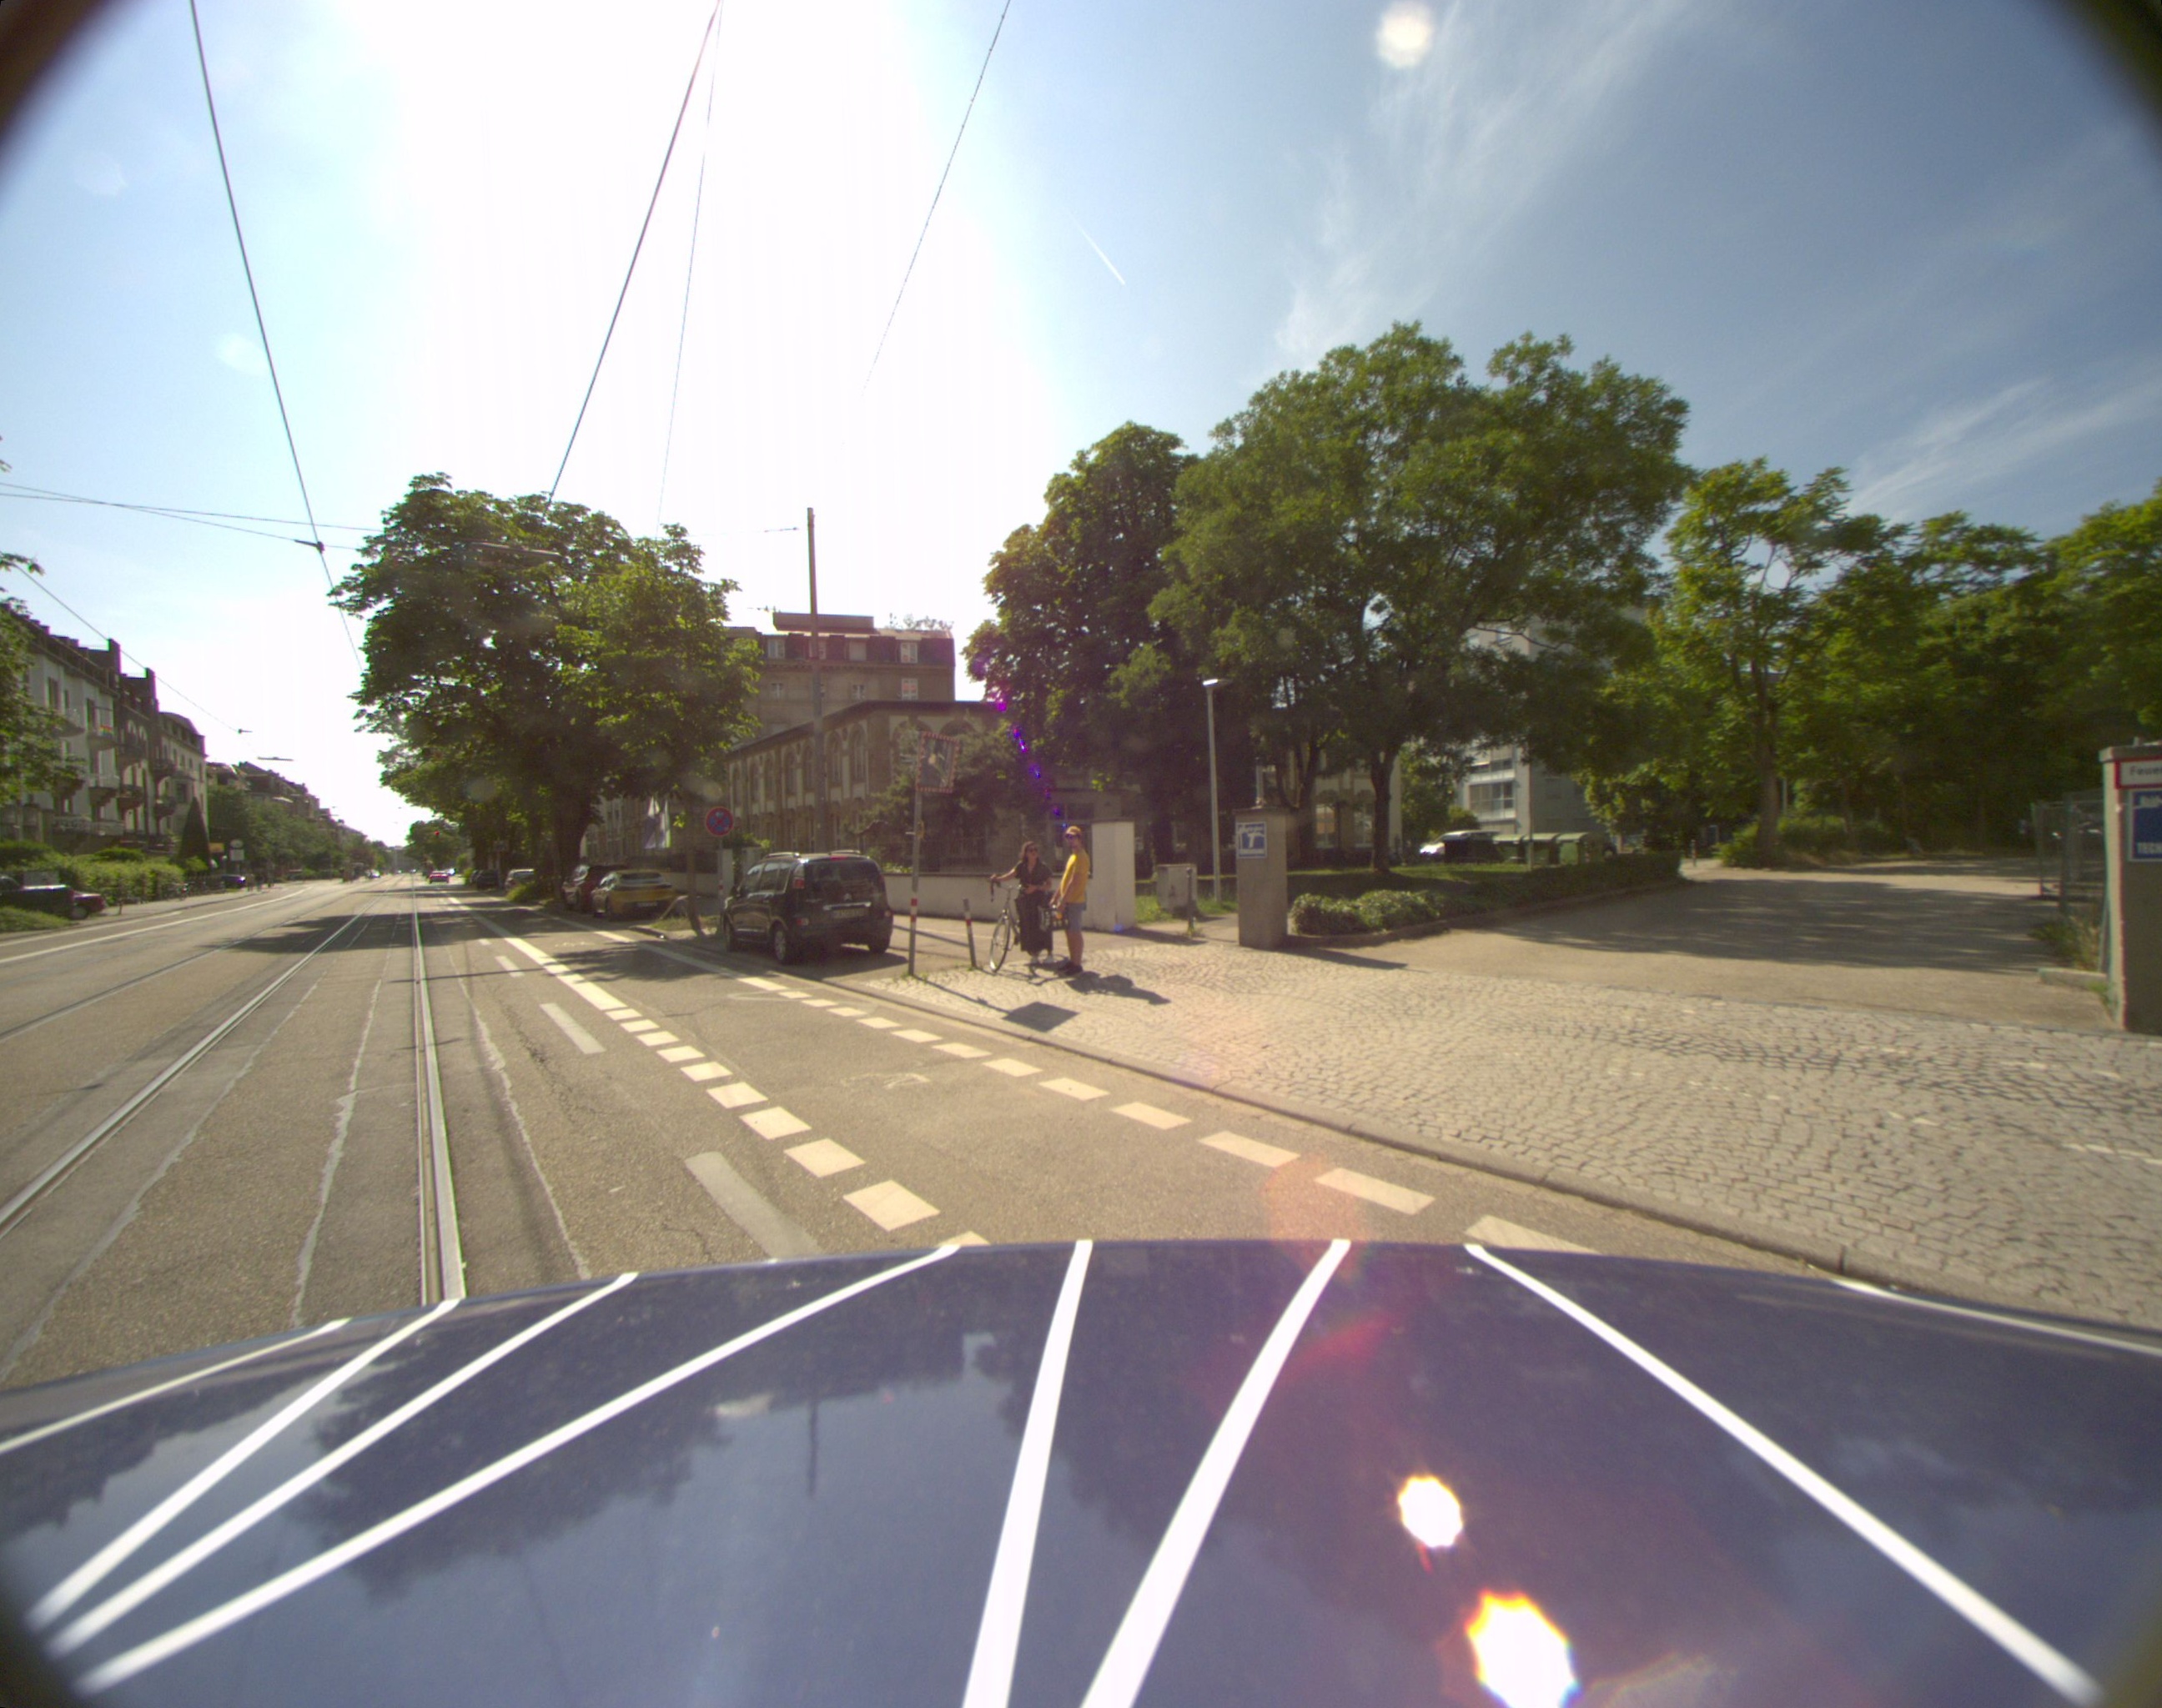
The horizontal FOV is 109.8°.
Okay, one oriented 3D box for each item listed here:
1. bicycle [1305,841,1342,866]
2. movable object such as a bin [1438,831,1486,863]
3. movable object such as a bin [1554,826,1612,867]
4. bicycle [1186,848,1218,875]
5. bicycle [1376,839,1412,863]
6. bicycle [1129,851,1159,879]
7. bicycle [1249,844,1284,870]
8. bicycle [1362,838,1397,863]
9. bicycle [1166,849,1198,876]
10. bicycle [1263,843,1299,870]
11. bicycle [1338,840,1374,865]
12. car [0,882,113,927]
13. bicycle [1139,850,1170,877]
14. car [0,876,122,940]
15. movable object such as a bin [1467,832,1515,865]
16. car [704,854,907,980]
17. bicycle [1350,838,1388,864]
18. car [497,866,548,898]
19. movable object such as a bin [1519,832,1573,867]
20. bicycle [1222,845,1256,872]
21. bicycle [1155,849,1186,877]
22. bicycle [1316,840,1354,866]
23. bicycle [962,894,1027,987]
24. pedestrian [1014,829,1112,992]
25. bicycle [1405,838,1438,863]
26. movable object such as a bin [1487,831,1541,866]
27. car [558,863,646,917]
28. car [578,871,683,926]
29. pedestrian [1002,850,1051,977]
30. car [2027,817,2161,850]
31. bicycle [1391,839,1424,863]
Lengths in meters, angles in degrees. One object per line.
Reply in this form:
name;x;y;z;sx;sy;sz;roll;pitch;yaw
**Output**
bicycle;11.358;-0.026;35.697;0.588;1.155;2.099;-2;1;-15
movable object such as a bin;17.193;-0.322;34.318;1.251;1.401;1.433;-3;1;-20
movable object such as a bin;18.777;-0.275;28.459;1.215;1.454;1.392;-2;1;-4
bicycle;5.427;0.321;34.280;0.588;1.155;2.099;-2;1;-15
bicycle;15.148;-0.147;36.807;0.614;1.155;1.848;-2;1;-15
bicycle;2.716;0.441;33.007;0.588;1.155;2.099;-2;1;-15
bicycle;8.530;0.137;35.018;0.588;1.155;2.099;-2;1;-15
bicycle;14.330;-0.155;36.524;0.494;1.155;1.911;-2;1;-15
bicycle;4.513;0.348;34.092;0.588;1.155;2.099;-2;1;-15
bicycle;9.267;0.108;35.261;0.588;1.155;2.099;-2;1;-15
bicycle;13.071;-0.076;36.121;0.588;1.155;1.919;-2;1;-15
car;-40.105;1.926;28.625;1.998;1.499;4.000;-2;1;3
bicycle;3.231;0.406;33.609;0.588;1.155;2.099;-2;1;-15
car;-34.490;1.762;24.521;1.999;1.849;3.998;-2;1;-4
movable object such as a bin;17.714;-0.252;32.837;1.216;1.341;1.350;-3;1;-19
car;-4.679;0.891;12.561;1.860;1.674;3.989;-3;1;-40
bicycle;13.772;-0.139;36.390;0.588;1.155;2.099;-2;1;-15
car;-32.202;1.567;43.762;1.860;1.670;3.989;-3;1;-42
movable object such as a bin;18.239;-0.185;29.825;1.216;1.293;1.353;-3;1;-19
bicycle;7.207;0.185;34.689;0.588;1.155;2.099;-2;1;-15
bicycle;3.946;0.380;33.804;0.588;1.155;2.099;-2;1;-15
bicycle;11.988;-0.063;35.930;0.588;1.155;2.099;-2;1;-15
bicycle;-1.114;1.098;10.048;0.363;1.035;1.514;-2;1;12
pedestrian;-0.230;0.645;9.250;0.855;1.854;0.828;-3;1;-26
bicycle;16.449;-0.160;36.753;0.557;1.155;1.944;-2;1;-5
movable object such as a bin;17.791;-0.232;31.249;1.216;1.354;1.499;-3;1;-19
car;-16.815;1.203;26.573;1.860;1.670;3.989;-3;1;-42
car;-13.506;1.252;22.676;1.860;1.403;3.989;-3;1;-42
pedestrian;-0.716;0.772;10.021;0.421;1.612;0.454;-3;3;12
car;51.189;-1.004;38.281;2.002;1.499;3.993;-2;1;-20
bicycle;15.813;-0.145;36.832;0.507;1.155;1.803;-2;1;-11
